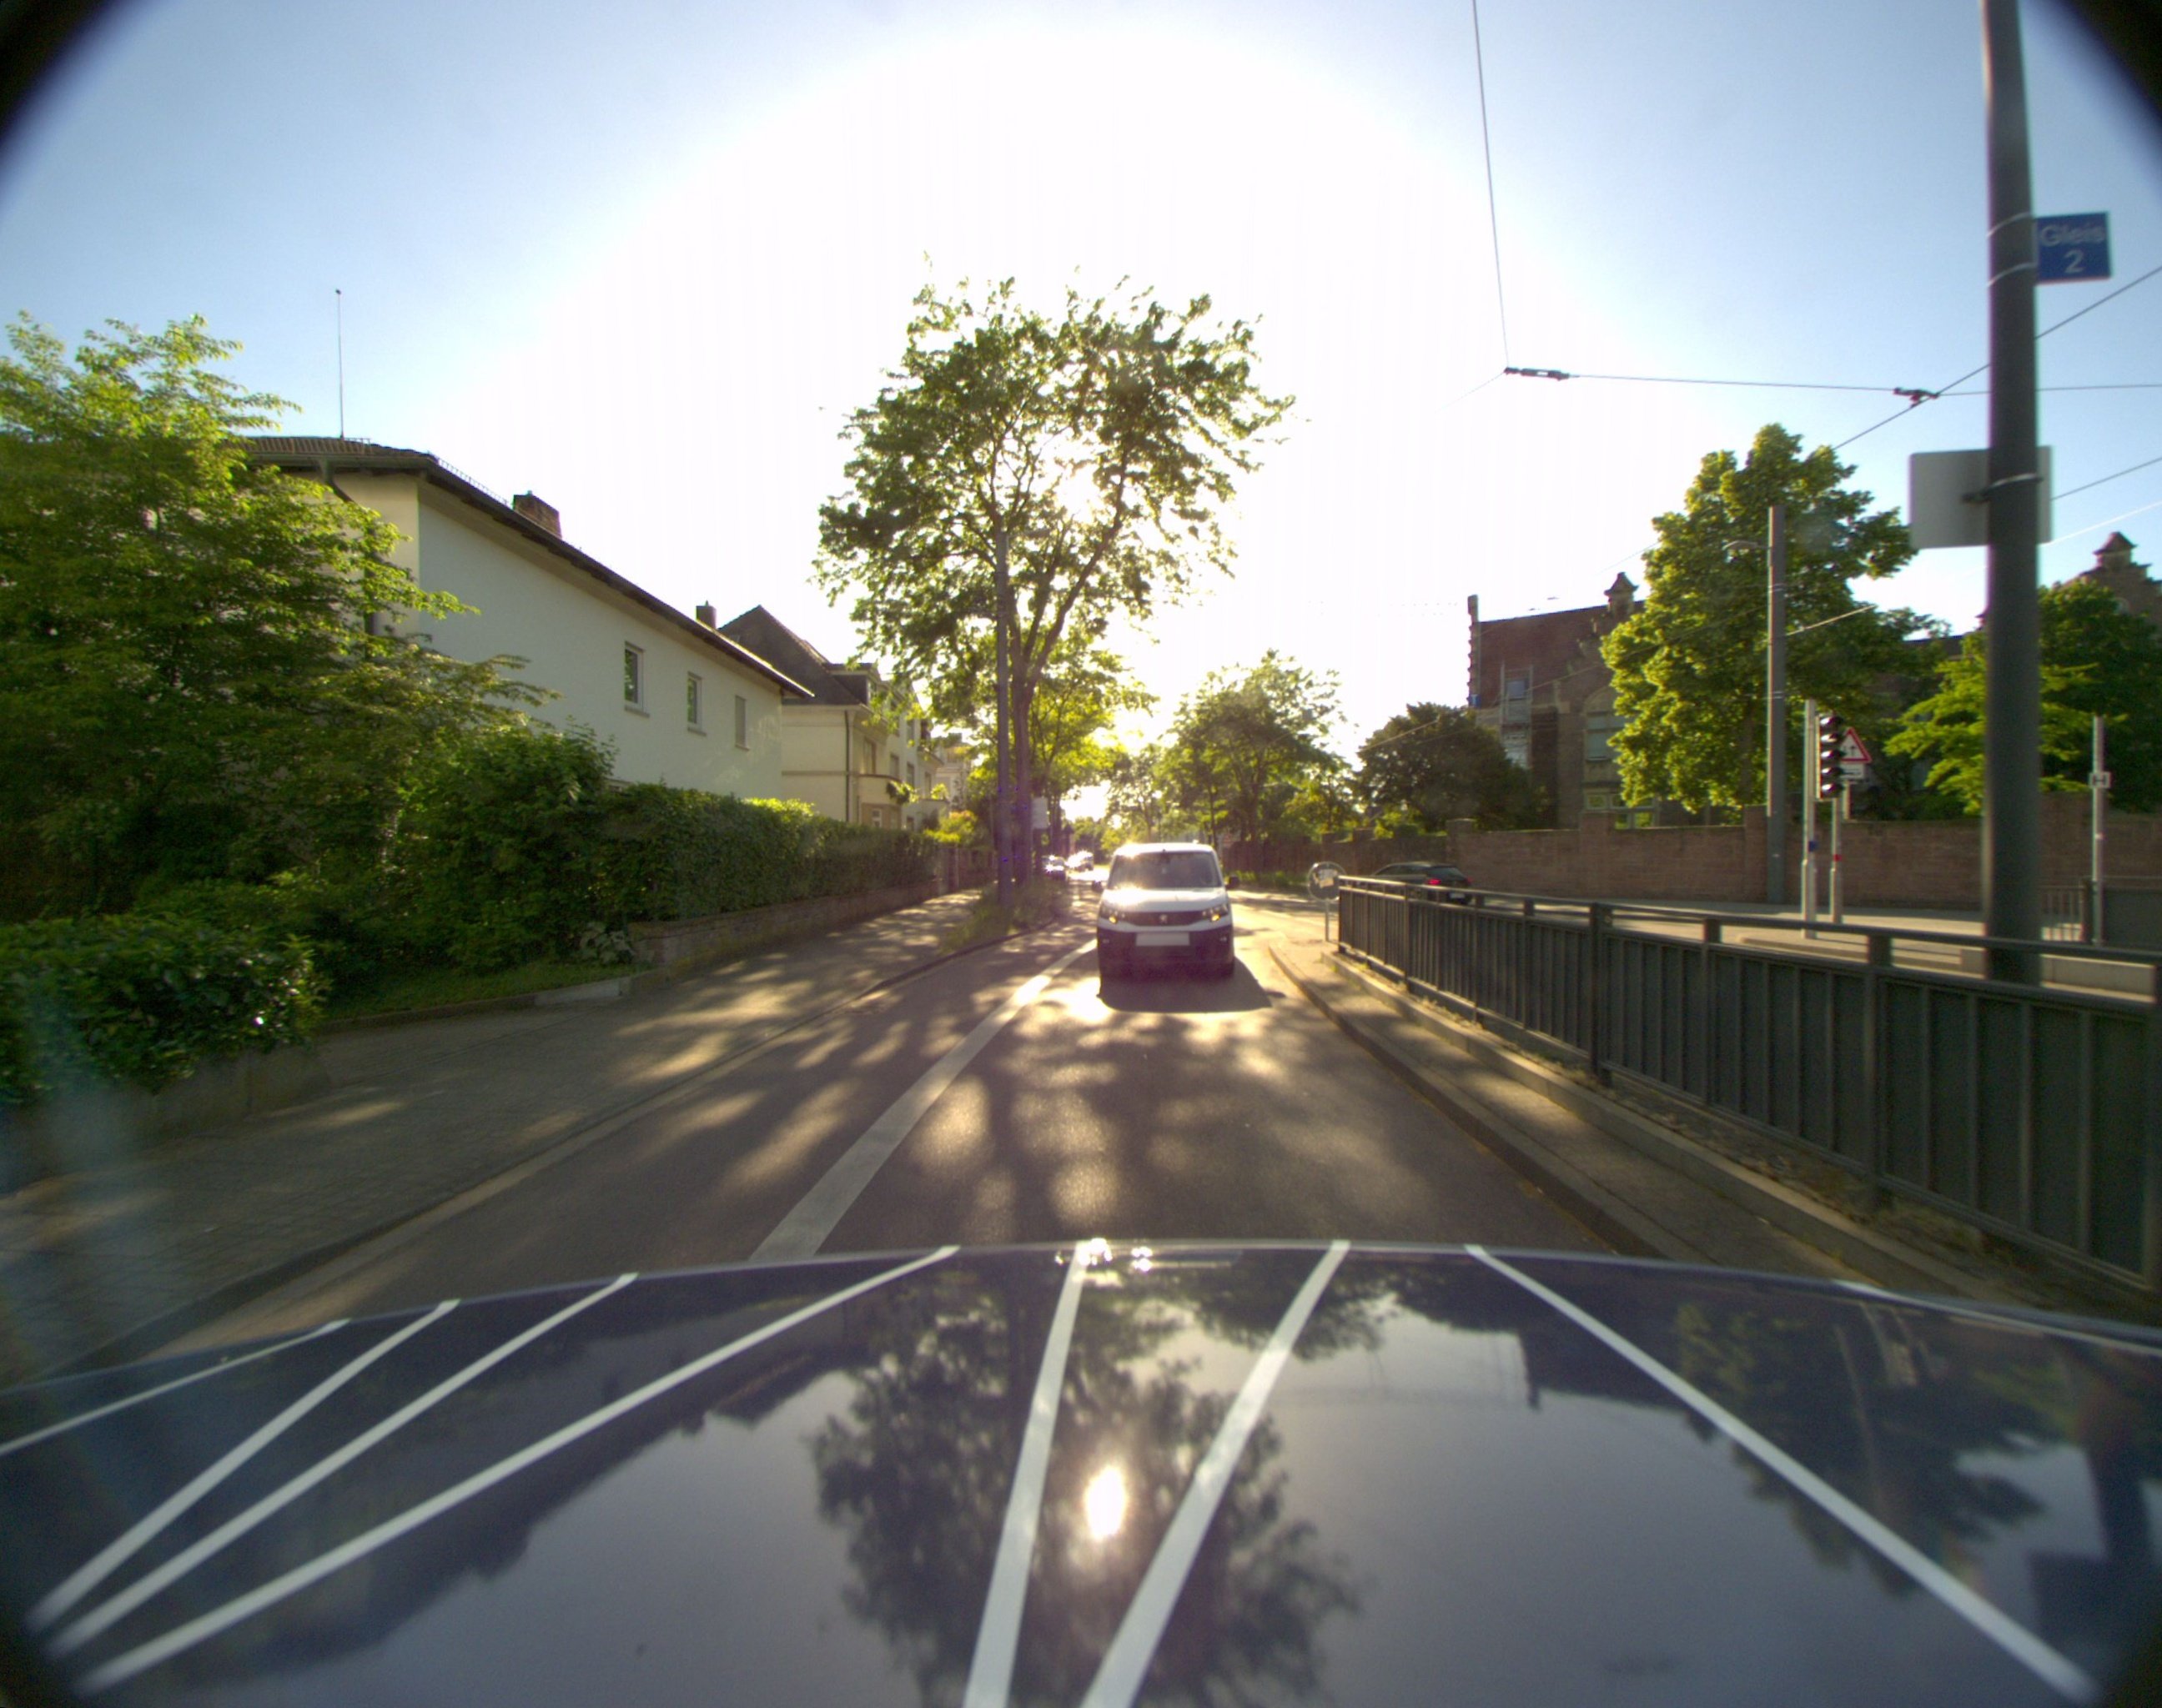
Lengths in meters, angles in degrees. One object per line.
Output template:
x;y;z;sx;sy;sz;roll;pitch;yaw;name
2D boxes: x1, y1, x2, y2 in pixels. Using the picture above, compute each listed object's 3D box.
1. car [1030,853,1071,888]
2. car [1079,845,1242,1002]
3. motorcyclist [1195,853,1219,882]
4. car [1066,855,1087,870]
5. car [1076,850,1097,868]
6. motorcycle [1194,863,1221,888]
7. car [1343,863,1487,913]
-1.587;0.862;41.014;1.998;1.733;4.170;-1;1;0;car
1.112;0.787;10.898;1.831;1.788;4.335;-1;1;5;car
6.721;0.724;40.536;1.127;1.516;1.055;-1;1;3;motorcyclist
-0.406;0.806;75.091;1.719;1.332;3.918;-1;1;4;car
0.590;0.478;81.431;1.904;1.818;4.249;-1;1;5;car
6.729;1.120;40.518;1.132;1.236;2.574;-1;1;3;motorcycle
10.265;0.983;23.691;1.863;1.395;3.976;0;-1;-20;car
